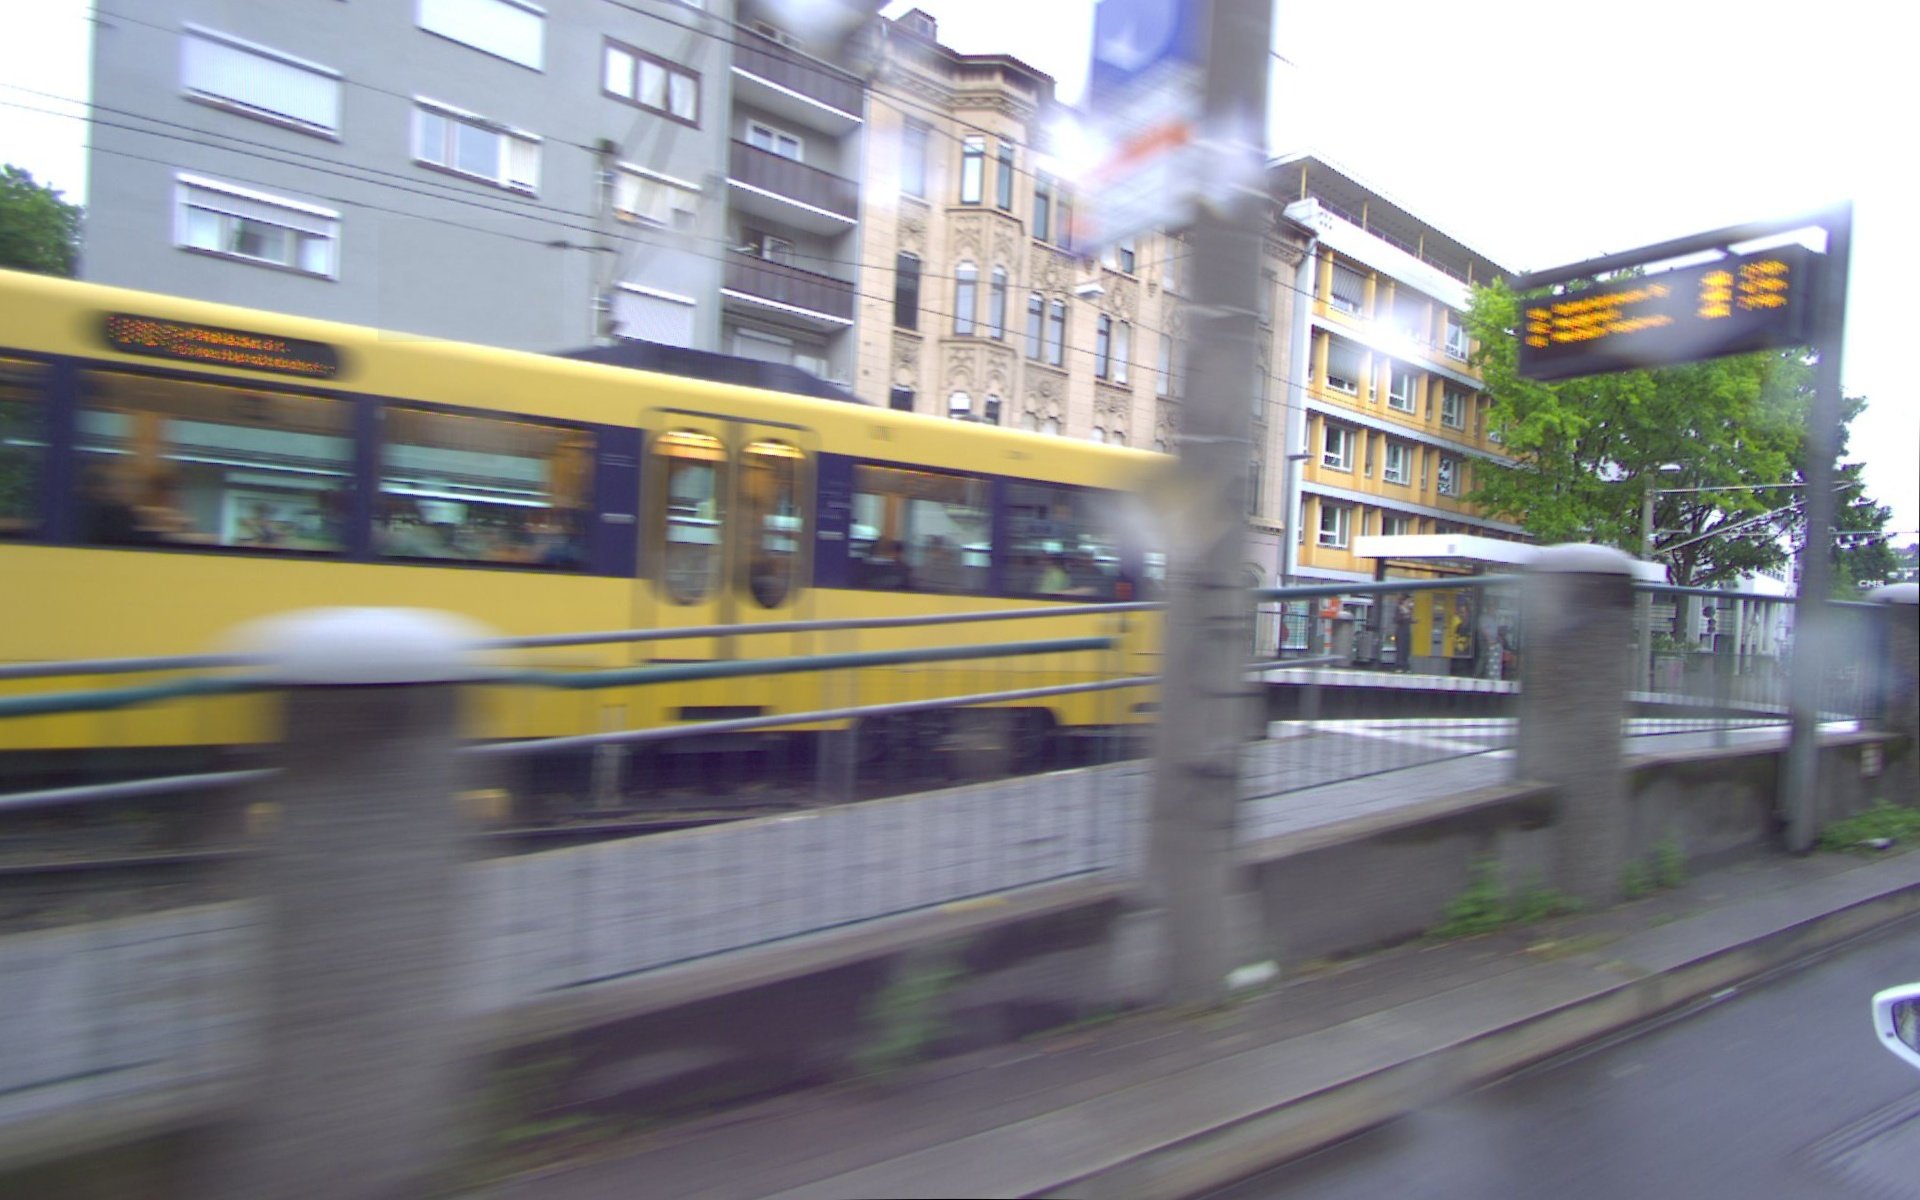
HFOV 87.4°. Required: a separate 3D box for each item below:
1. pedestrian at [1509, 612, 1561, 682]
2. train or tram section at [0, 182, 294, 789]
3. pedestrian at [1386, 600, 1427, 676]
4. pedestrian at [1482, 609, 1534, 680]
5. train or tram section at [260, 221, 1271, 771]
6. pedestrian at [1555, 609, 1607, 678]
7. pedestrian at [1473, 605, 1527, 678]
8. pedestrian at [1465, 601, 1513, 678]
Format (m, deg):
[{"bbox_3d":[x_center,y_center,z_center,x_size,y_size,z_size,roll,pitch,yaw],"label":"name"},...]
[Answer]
[{"bbox_3d":[14.164,1.169,24.756,0.768,1.670,0.769,2,-5,-28],"label":"pedestrian"},{"bbox_3d":[-9.548,-0.781,5.710,9.396,3.742,2.765,1,2,-30],"label":"train or tram section"},{"bbox_3d":[9.332,0.783,20.996,0.511,1.558,0.554,2,0,-32],"label":"pedestrian"},{"bbox_3d":[13.231,1.084,24.266,0.768,1.670,0.769,2,-5,-28],"label":"pedestrian"},{"bbox_3d":[-1.289,-0.704,10.466,9.598,3.742,2.765,1,2,-30],"label":"train or tram section"},{"bbox_3d":[15.315,1.088,24.770,0.884,1.670,0.675,2,-6,-28],"label":"pedestrian"},{"bbox_3d":[12.634,0.993,23.515,0.768,1.670,0.769,2,-5,-28],"label":"pedestrian"},{"bbox_3d":[11.801,0.874,22.418,0.674,1.682,0.630,2,1,-29],"label":"pedestrian"}]
